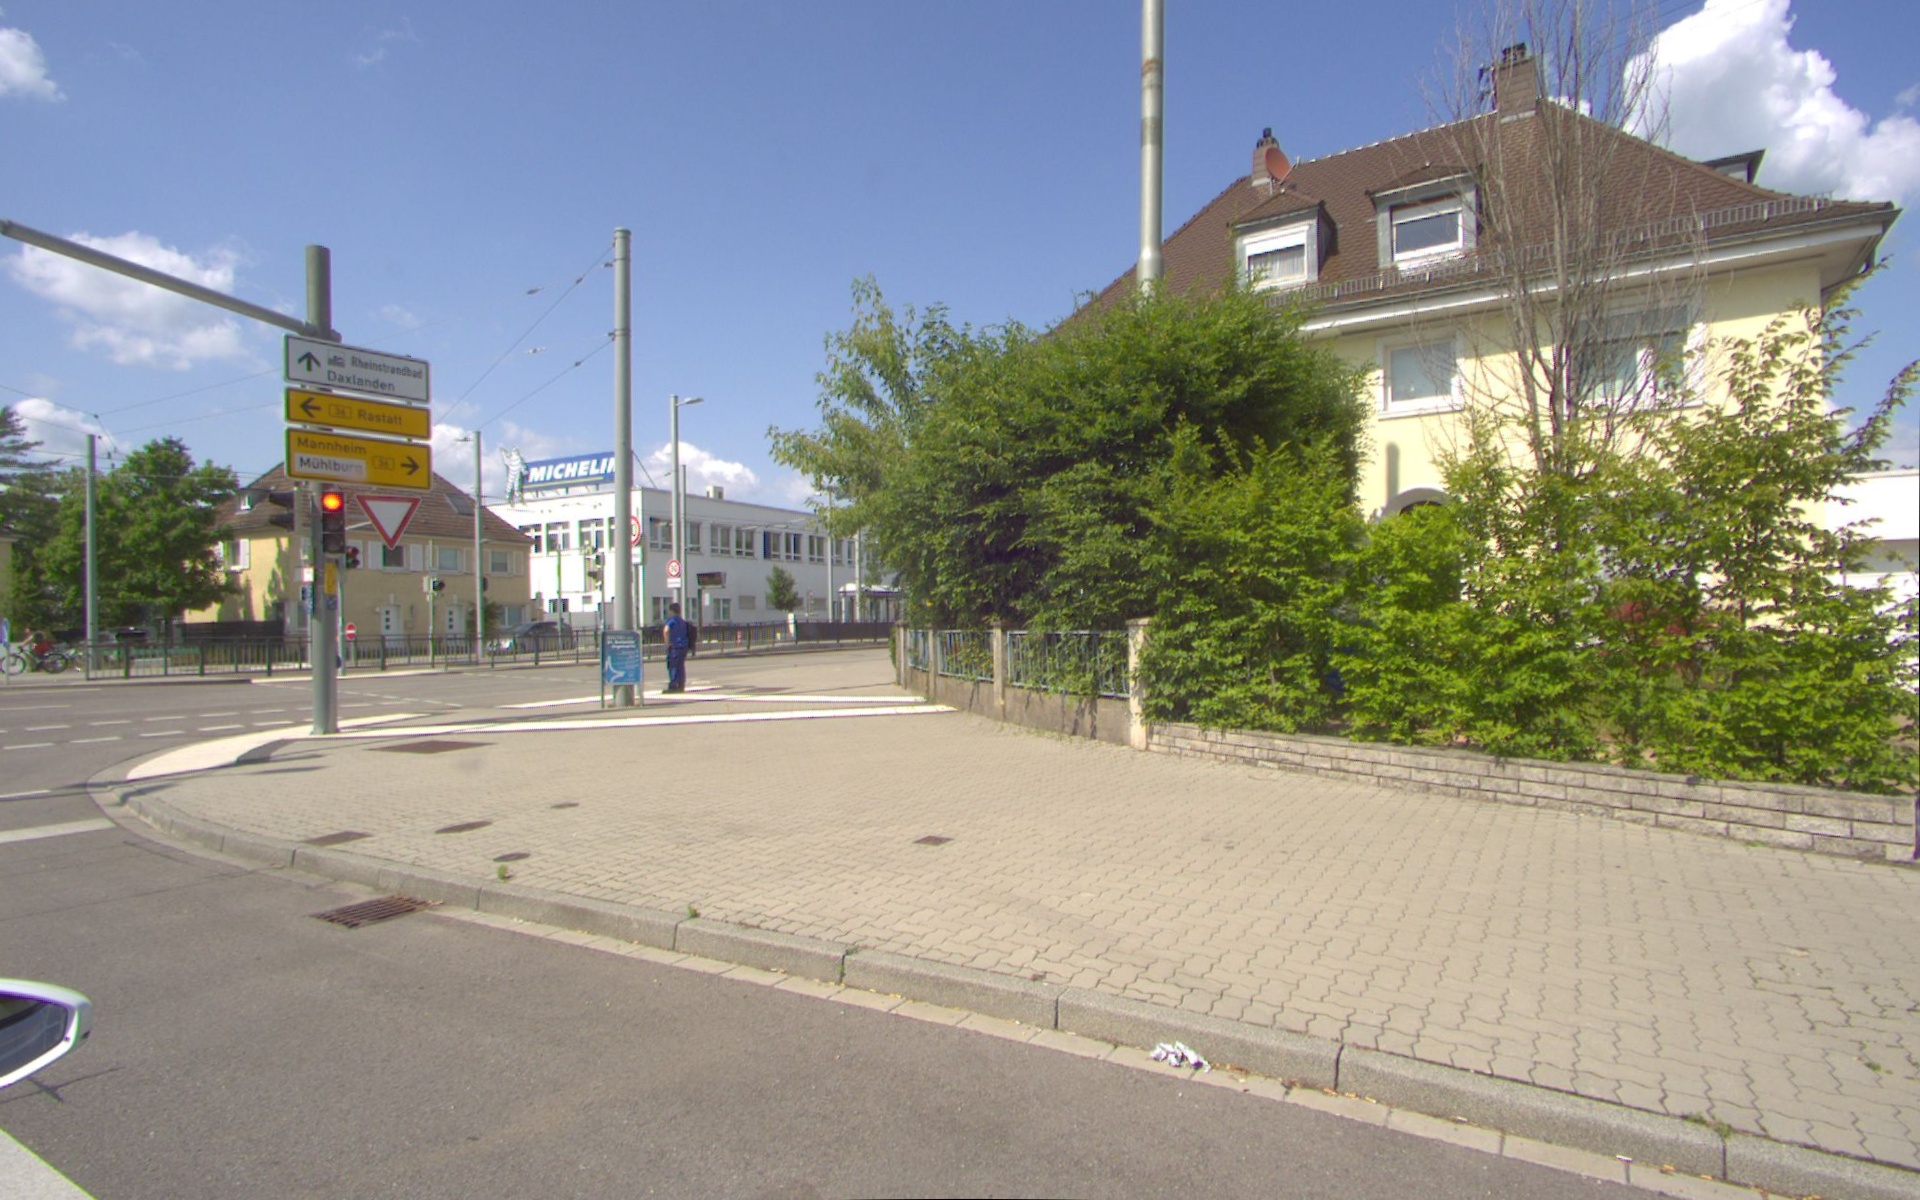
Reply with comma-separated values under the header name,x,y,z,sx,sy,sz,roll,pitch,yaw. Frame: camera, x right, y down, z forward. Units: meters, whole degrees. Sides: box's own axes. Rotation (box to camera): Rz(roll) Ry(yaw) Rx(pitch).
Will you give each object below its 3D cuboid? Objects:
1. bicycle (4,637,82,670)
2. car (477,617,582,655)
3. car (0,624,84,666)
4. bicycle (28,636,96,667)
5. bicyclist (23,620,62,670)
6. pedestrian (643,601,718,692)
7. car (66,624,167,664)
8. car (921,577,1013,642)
name,x,y,z,sx,sy,sz,roll,pitch,yaw
bicycle,-33.617,1.959,36.736,2.008,1.116,0.710,0,-1,-36
car,-18.996,1.566,44.342,1.815,1.589,3.981,-1,-1,30
car,-39.401,1.923,42.464,3.934,1.641,1.823,-3,-1,23
bicycle,-34.208,1.947,38.169,1.777,1.119,0.701,-1,-1,-19
bicyclist,-33.846,1.640,36.963,0.948,1.798,0.715,-1,-1,-36
pedestrian,-5.633,0.917,20.181,1.025,1.757,1.028,-1,0,29
car,-37.607,1.951,44.651,3.934,1.641,1.823,-3,-1,23
car,0.460,0.493,48.852,2.031,2.966,6.571,-1,-1,24
